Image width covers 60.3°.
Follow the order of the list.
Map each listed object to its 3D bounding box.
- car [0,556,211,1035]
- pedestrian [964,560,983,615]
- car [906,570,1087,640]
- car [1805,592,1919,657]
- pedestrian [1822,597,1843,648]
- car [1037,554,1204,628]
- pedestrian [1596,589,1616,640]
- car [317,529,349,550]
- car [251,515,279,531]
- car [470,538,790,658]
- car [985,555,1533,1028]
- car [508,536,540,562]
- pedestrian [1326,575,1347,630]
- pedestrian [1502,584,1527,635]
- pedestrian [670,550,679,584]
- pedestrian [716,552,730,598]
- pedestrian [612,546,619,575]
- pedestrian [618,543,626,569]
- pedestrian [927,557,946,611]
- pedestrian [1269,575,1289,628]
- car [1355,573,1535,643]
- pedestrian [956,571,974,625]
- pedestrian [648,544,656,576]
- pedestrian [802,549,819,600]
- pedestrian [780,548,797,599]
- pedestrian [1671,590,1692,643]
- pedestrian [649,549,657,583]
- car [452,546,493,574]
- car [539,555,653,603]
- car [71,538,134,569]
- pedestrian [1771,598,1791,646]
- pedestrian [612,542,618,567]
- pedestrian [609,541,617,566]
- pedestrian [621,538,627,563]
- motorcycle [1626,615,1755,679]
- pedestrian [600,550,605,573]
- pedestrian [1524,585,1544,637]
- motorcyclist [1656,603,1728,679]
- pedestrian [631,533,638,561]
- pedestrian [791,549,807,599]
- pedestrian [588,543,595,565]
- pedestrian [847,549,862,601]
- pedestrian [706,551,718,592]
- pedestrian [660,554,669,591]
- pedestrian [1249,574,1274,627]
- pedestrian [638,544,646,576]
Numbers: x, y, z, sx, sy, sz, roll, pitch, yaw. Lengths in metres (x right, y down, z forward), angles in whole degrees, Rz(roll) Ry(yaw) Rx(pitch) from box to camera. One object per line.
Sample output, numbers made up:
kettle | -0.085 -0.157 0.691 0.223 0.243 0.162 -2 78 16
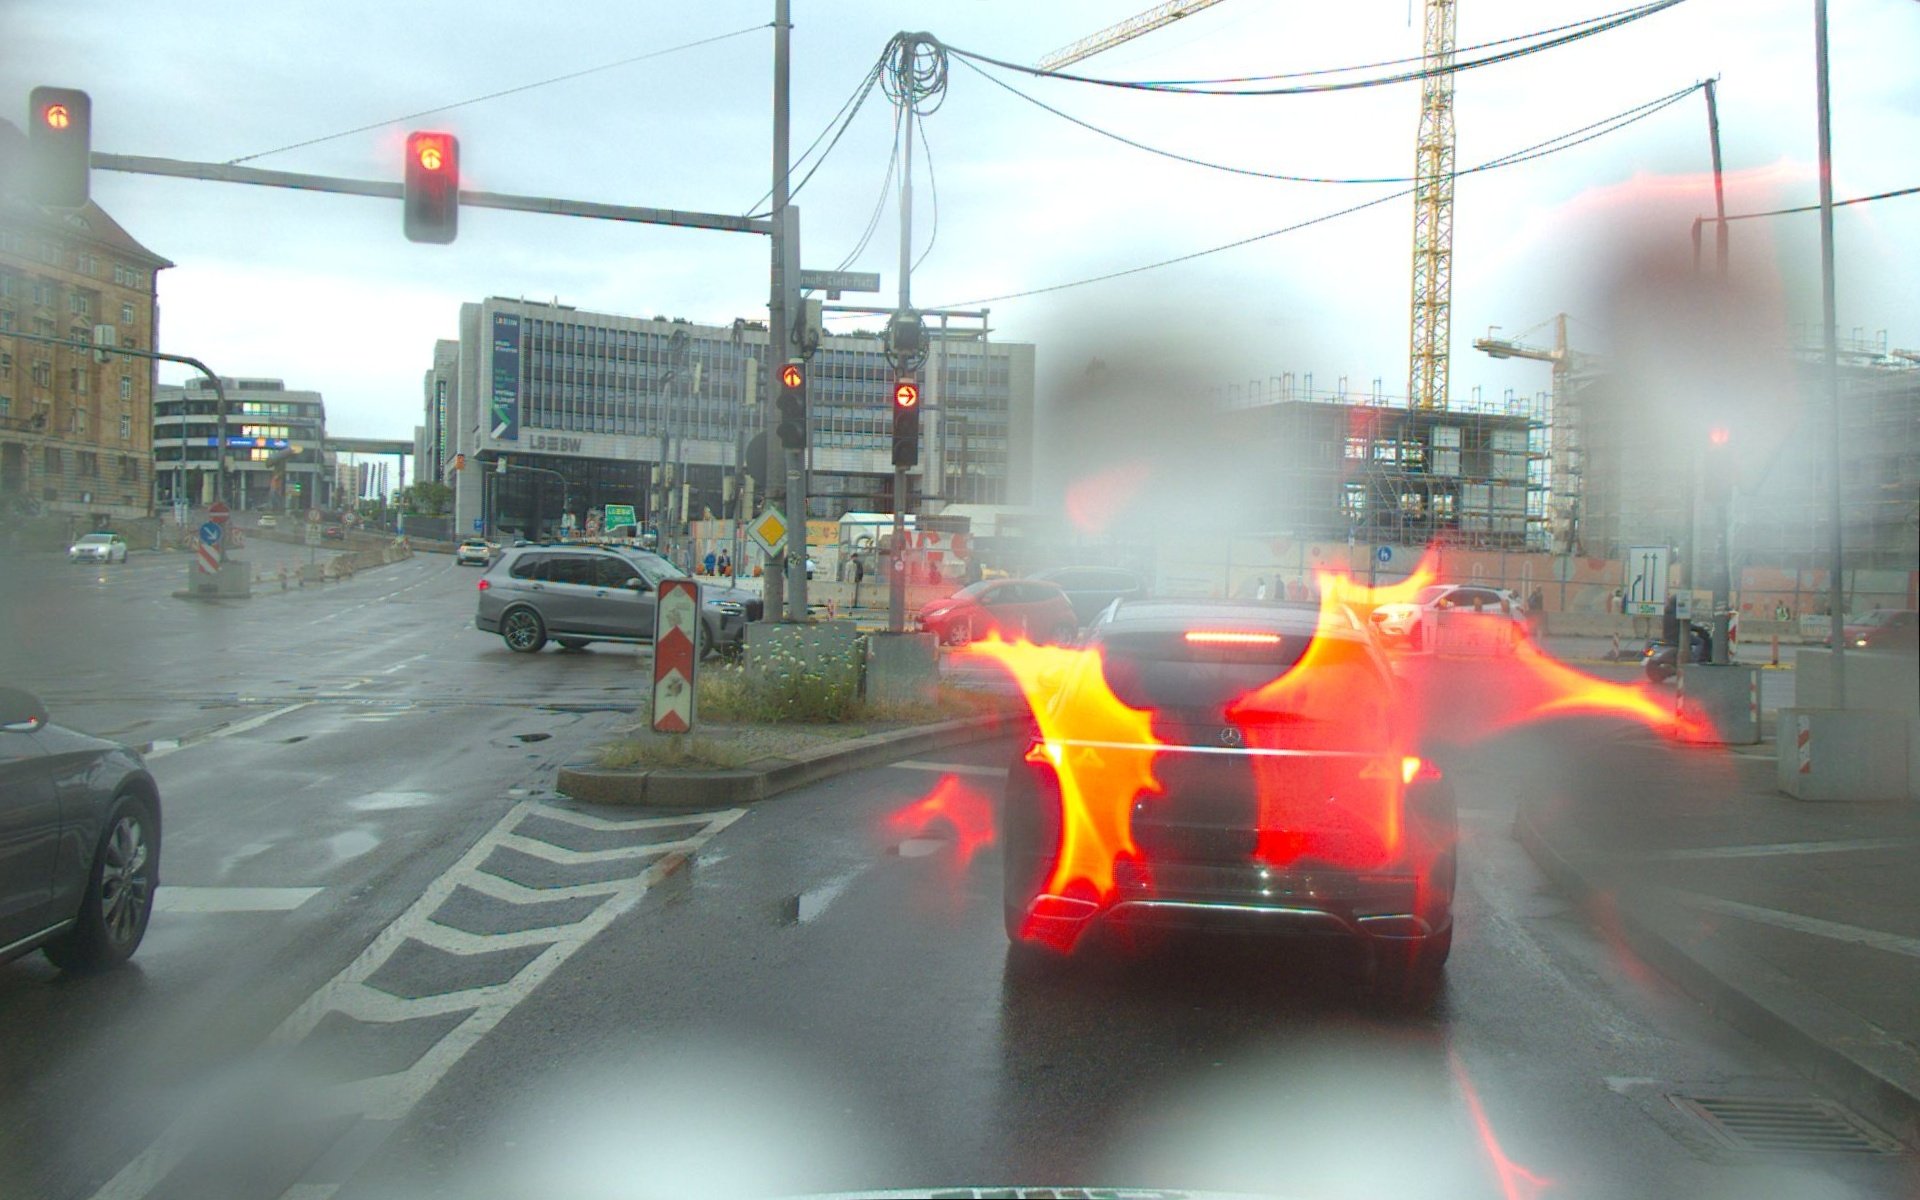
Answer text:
car | -3.727 0.597 4.511 1.749 1.427 4.480 2 1 -7
pedestrian | 0.471 -0.447 58.393 0.564 1.931 0.361 2 -1 -9
car | 0.769 0.108 35.221 3.481 1.327 1.656 2 -1 -20
car | 26.702 0.730 47.693 3.925 1.738 1.990 2 -1 -18
pedestrian | 33.349 0.860 63.217 0.564 1.931 0.361 2 -1 -12
car | 4.245 -0.229 43.842 3.923 1.764 1.991 2 -1 -17
pedestrian | 24.815 0.560 63.575 0.565 1.931 0.361 2 -1 -14
car | -68.208 -6.549 179.828 1.981 2.049 3.942 3 -1 -40
car | -87.839 -9.713 209.121 1.984 1.847 3.936 3 -1 -43
car | -5.646 -0.035 28.454 4.978 1.829 2.001 2 -1 15
car | 1.194 0.687 7.784 1.851 1.571 3.995 2 -1 4
car | -31.427 -3.682 119.137 1.704 1.668 3.412 2 3 -23
pedestrian | 13.561 0.095 59.580 0.564 1.931 0.361 2 -1 -12
pedestrian | 21.608 0.373 64.490 0.645 1.934 0.630 2 -1 -15
pedestrian | -16.436 -1.919 95.277 0.355 1.931 0.573 2 -1 -18
pedestrian | -9.893 -1.045 69.086 0.357 1.931 0.571 2 -1 -26
pedestrian | -23.406 -2.677 112.376 0.355 1.931 0.573 2 -1 -18
pedestrian | -25.337 -3.312 124.008 0.511 1.931 0.573 2 -1 -18
pedestrian | -0.856 -0.575 60.026 0.562 1.931 0.362 2 -1 13
pedestrian | 11.756 0.054 60.919 0.564 1.931 0.361 2 -1 -12
car | 12.326 0.210 42.085 3.981 1.579 1.988 2 -1 -20
pedestrian | 0.191 -0.075 59.726 0.562 1.931 0.362 2 -1 7
pedestrian | -18.886 -2.448 101.523 0.355 1.931 0.573 2 -1 -18
pedestrian | -5.750 -0.989 63.680 0.359 1.931 0.568 3 -1 -40
pedestrian | -6.564 -1.021 63.418 0.358 1.931 0.569 3 -1 -35
pedestrian | 26.653 0.593 61.129 0.564 1.931 0.361 2 -1 -12
pedestrian | -17.682 -1.936 95.245 0.355 1.931 0.573 2 -1 -18
car | -31.559 -2.550 107.077 1.968 1.668 3.968 2 -1 -25
car | -12.177 -0.704 55.295 3.484 1.499 1.781 2 -1 33
car | -42.105 -2.267 81.291 1.737 1.282 3.986 2 -1 -13
pedestrian | 33.074 0.889 66.620 0.564 1.931 0.361 2 -1 -12
pedestrian | -27.179 -3.548 130.195 0.355 1.931 0.573 2 -1 -18
pedestrian | -27.963 -3.748 133.388 0.511 1.931 0.573 2 -1 -18
pedestrian | -26.506 -3.906 130.473 0.355 1.931 0.573 2 -1 -18
motorcycle | 13.841 0.889 31.352 2.096 1.128 0.849 2 -1 -8
pedestrian | -30.384 -3.263 140.566 0.355 1.931 0.573 2 -1 -18
pedestrian | 21.476 0.419 61.880 0.564 1.931 0.361 2 -1 -12
motorcyclist | 13.855 0.766 31.335 0.927 1.382 0.848 2 -1 -7
pedestrian | -22.867 -3.690 116.242 0.355 1.931 0.573 2 -1 -18
pedestrian | -6.184 -0.999 63.552 0.359 1.931 0.568 1 -1 -39
pedestrian | -31.870 -3.969 143.142 0.511 1.931 0.573 2 -1 -18
pedestrian | -3.981 -0.937 62.398 0.356 1.931 0.572 2 -1 -22
pedestrian | -11.615 -1.333 77.513 0.356 1.931 0.572 2 -1 -22
pedestrian | -15.667 -1.436 87.730 0.355 1.931 0.573 2 -1 -18
pedestrian | 11.205 0.014 61.479 0.645 1.934 0.630 2 -1 -15
pedestrian | -19.466 -2.472 101.295 0.355 1.931 0.573 2 -1 -18
